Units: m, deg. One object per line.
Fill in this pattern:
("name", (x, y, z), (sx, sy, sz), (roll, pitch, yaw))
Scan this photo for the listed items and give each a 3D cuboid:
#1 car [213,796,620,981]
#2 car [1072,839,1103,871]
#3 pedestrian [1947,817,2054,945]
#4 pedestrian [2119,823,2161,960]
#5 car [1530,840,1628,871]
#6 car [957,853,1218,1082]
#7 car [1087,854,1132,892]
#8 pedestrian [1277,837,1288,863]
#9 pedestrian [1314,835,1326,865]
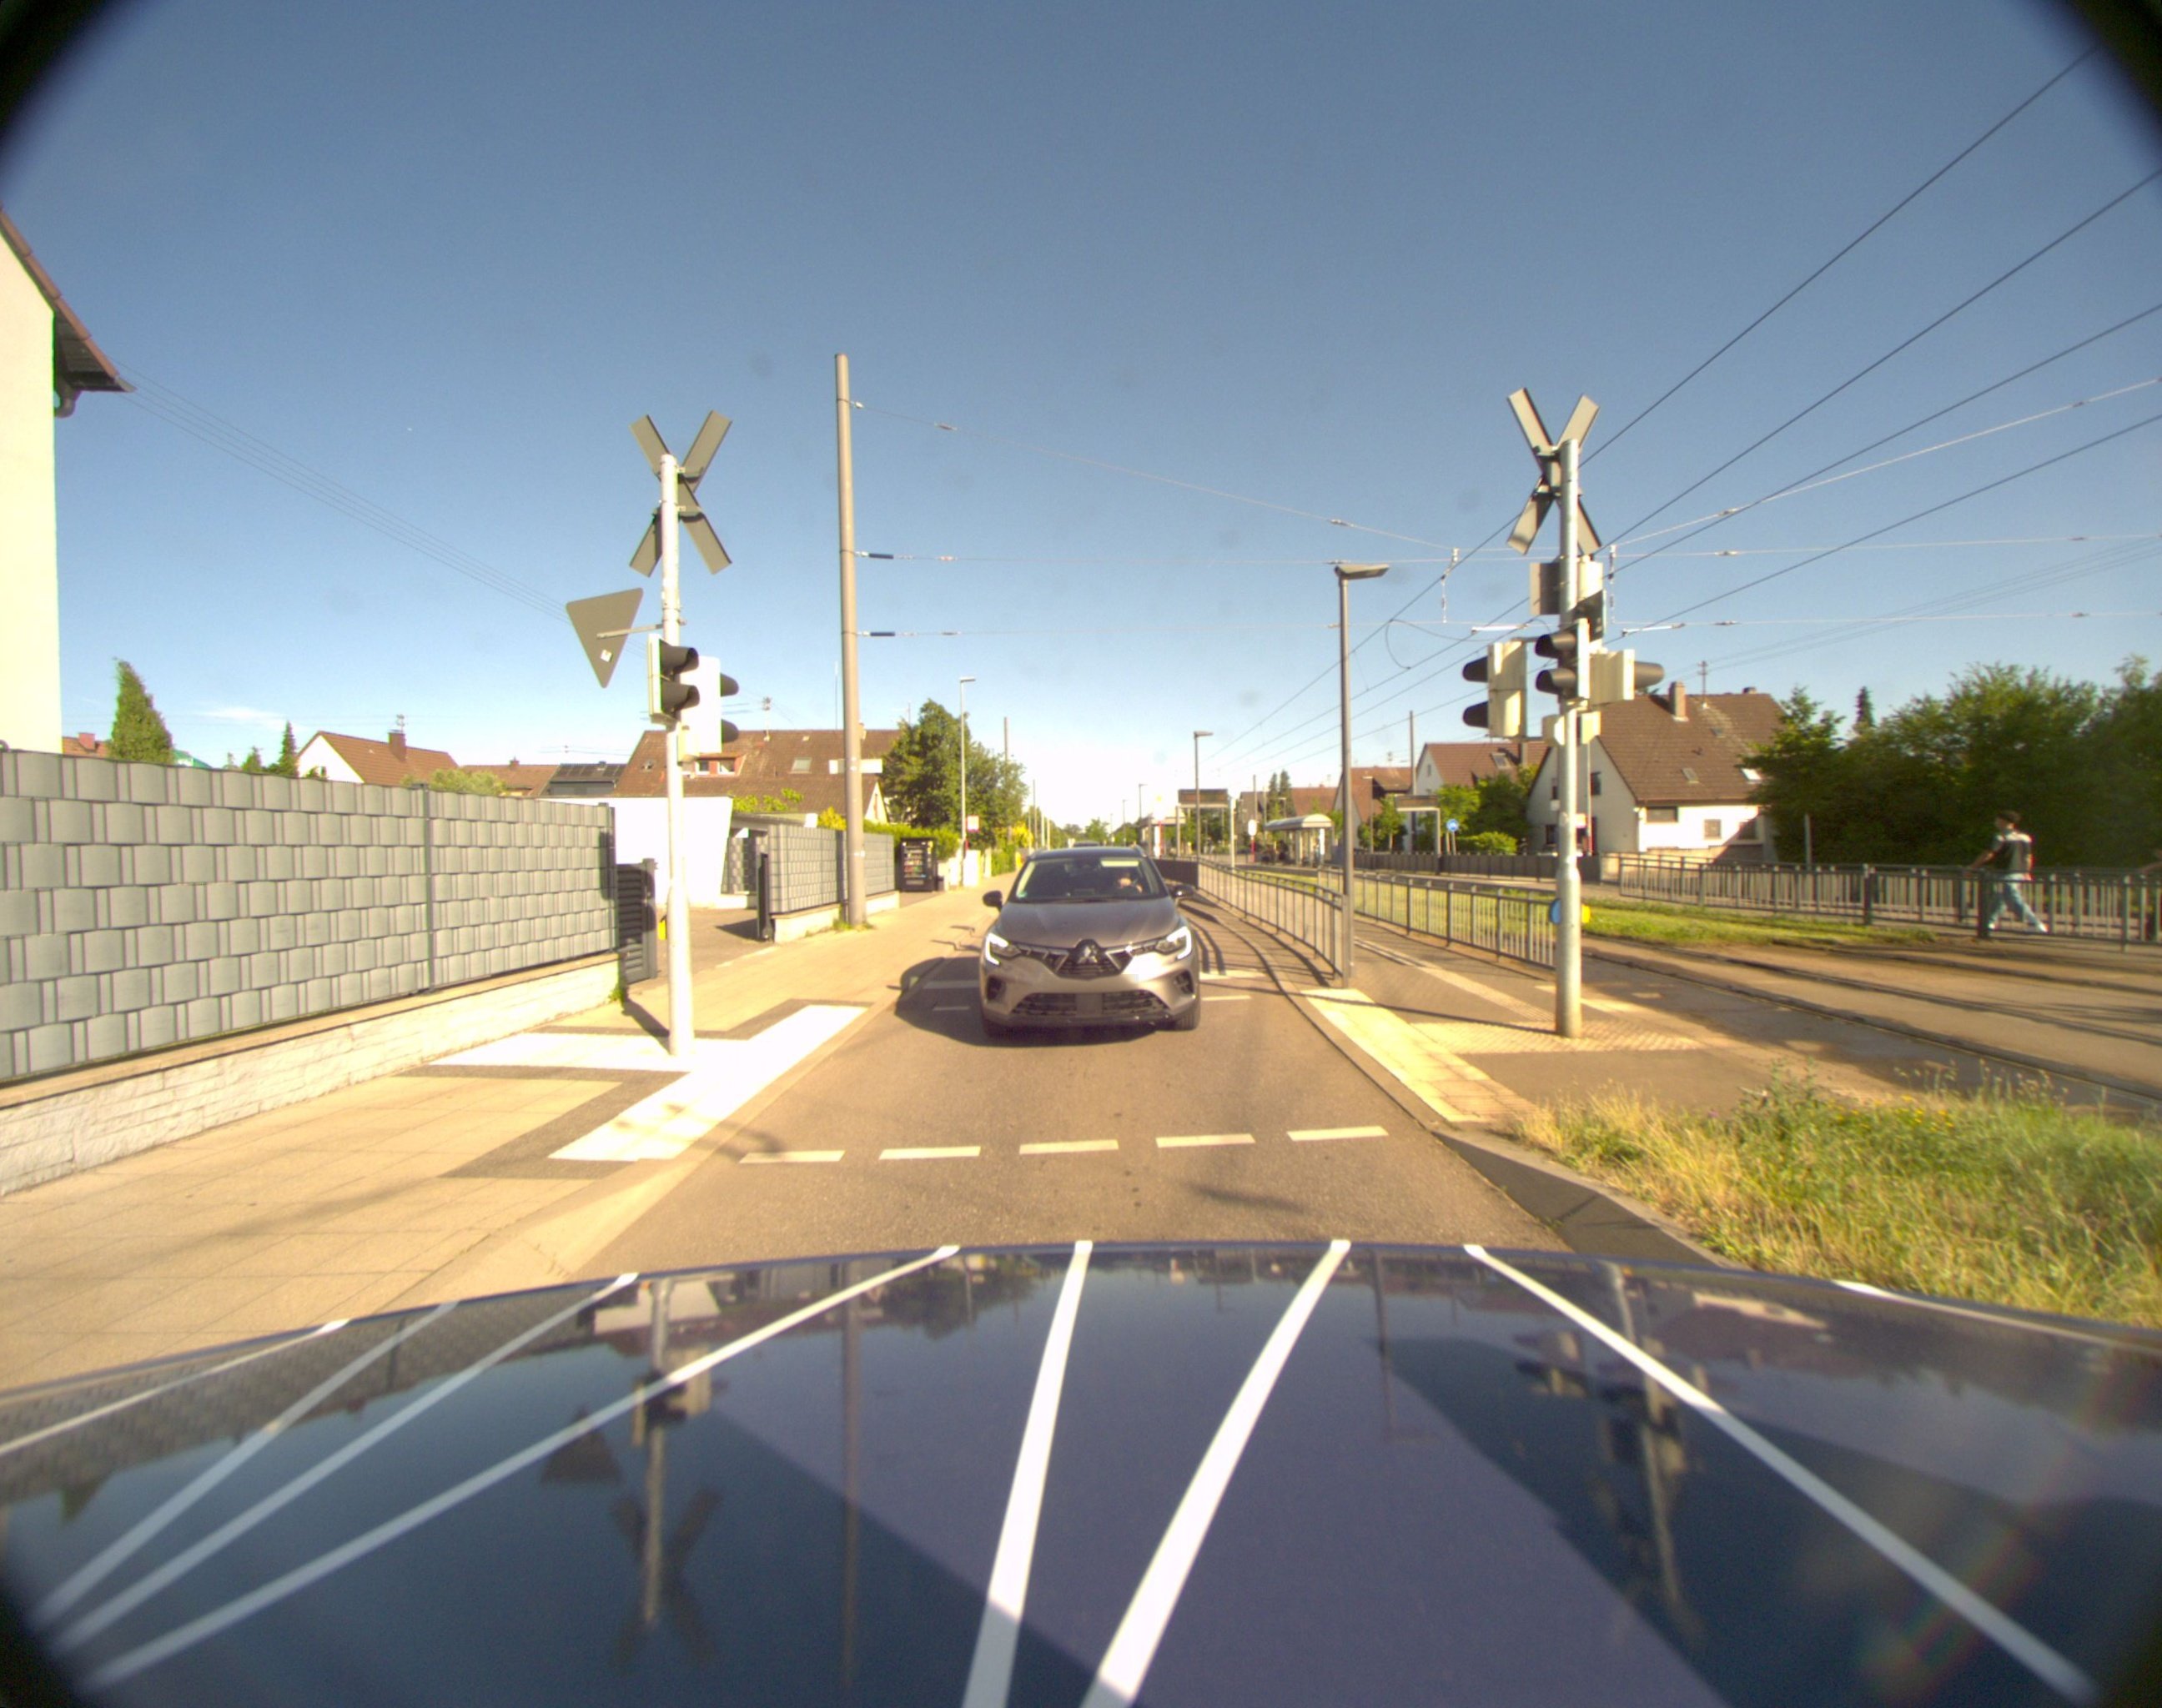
("car", (-9.905, 0.458, 11.458), (4.983, 2.418, 2.001), (-1, 2, 14))
("car", (0.528, 0.051, 56.095), (2.089, 2.226, 4.722), (-2, 0, 1))
("pedestrian", (13.408, 0.363, 11.100), (0.690, 1.761, 0.824), (-4, 4, -24))
("pedestrian", (13.610, 0.458, 9.405), (0.797, 1.652, 0.726), (-4, 4, -25))
("car", (26.483, 0.081, 40.494), (3.989, 1.526, 1.999), (-1, 1, -3))
("car", (0.009, 0.820, 7.495), (1.830, 1.570, 3.999), (-2, 0, -1))
("car", (1.140, 0.746, 31.201), (1.687, 1.379, 4.000), (-2, 0, 1))
("pedestrian", (13.505, -0.260, 50.924), (0.534, 1.742, 0.543), (-1, 1, 0))
("pedestrian", (13.764, -0.222, 43.739), (0.622, 1.742, 0.442), (-1, 1, 20))
